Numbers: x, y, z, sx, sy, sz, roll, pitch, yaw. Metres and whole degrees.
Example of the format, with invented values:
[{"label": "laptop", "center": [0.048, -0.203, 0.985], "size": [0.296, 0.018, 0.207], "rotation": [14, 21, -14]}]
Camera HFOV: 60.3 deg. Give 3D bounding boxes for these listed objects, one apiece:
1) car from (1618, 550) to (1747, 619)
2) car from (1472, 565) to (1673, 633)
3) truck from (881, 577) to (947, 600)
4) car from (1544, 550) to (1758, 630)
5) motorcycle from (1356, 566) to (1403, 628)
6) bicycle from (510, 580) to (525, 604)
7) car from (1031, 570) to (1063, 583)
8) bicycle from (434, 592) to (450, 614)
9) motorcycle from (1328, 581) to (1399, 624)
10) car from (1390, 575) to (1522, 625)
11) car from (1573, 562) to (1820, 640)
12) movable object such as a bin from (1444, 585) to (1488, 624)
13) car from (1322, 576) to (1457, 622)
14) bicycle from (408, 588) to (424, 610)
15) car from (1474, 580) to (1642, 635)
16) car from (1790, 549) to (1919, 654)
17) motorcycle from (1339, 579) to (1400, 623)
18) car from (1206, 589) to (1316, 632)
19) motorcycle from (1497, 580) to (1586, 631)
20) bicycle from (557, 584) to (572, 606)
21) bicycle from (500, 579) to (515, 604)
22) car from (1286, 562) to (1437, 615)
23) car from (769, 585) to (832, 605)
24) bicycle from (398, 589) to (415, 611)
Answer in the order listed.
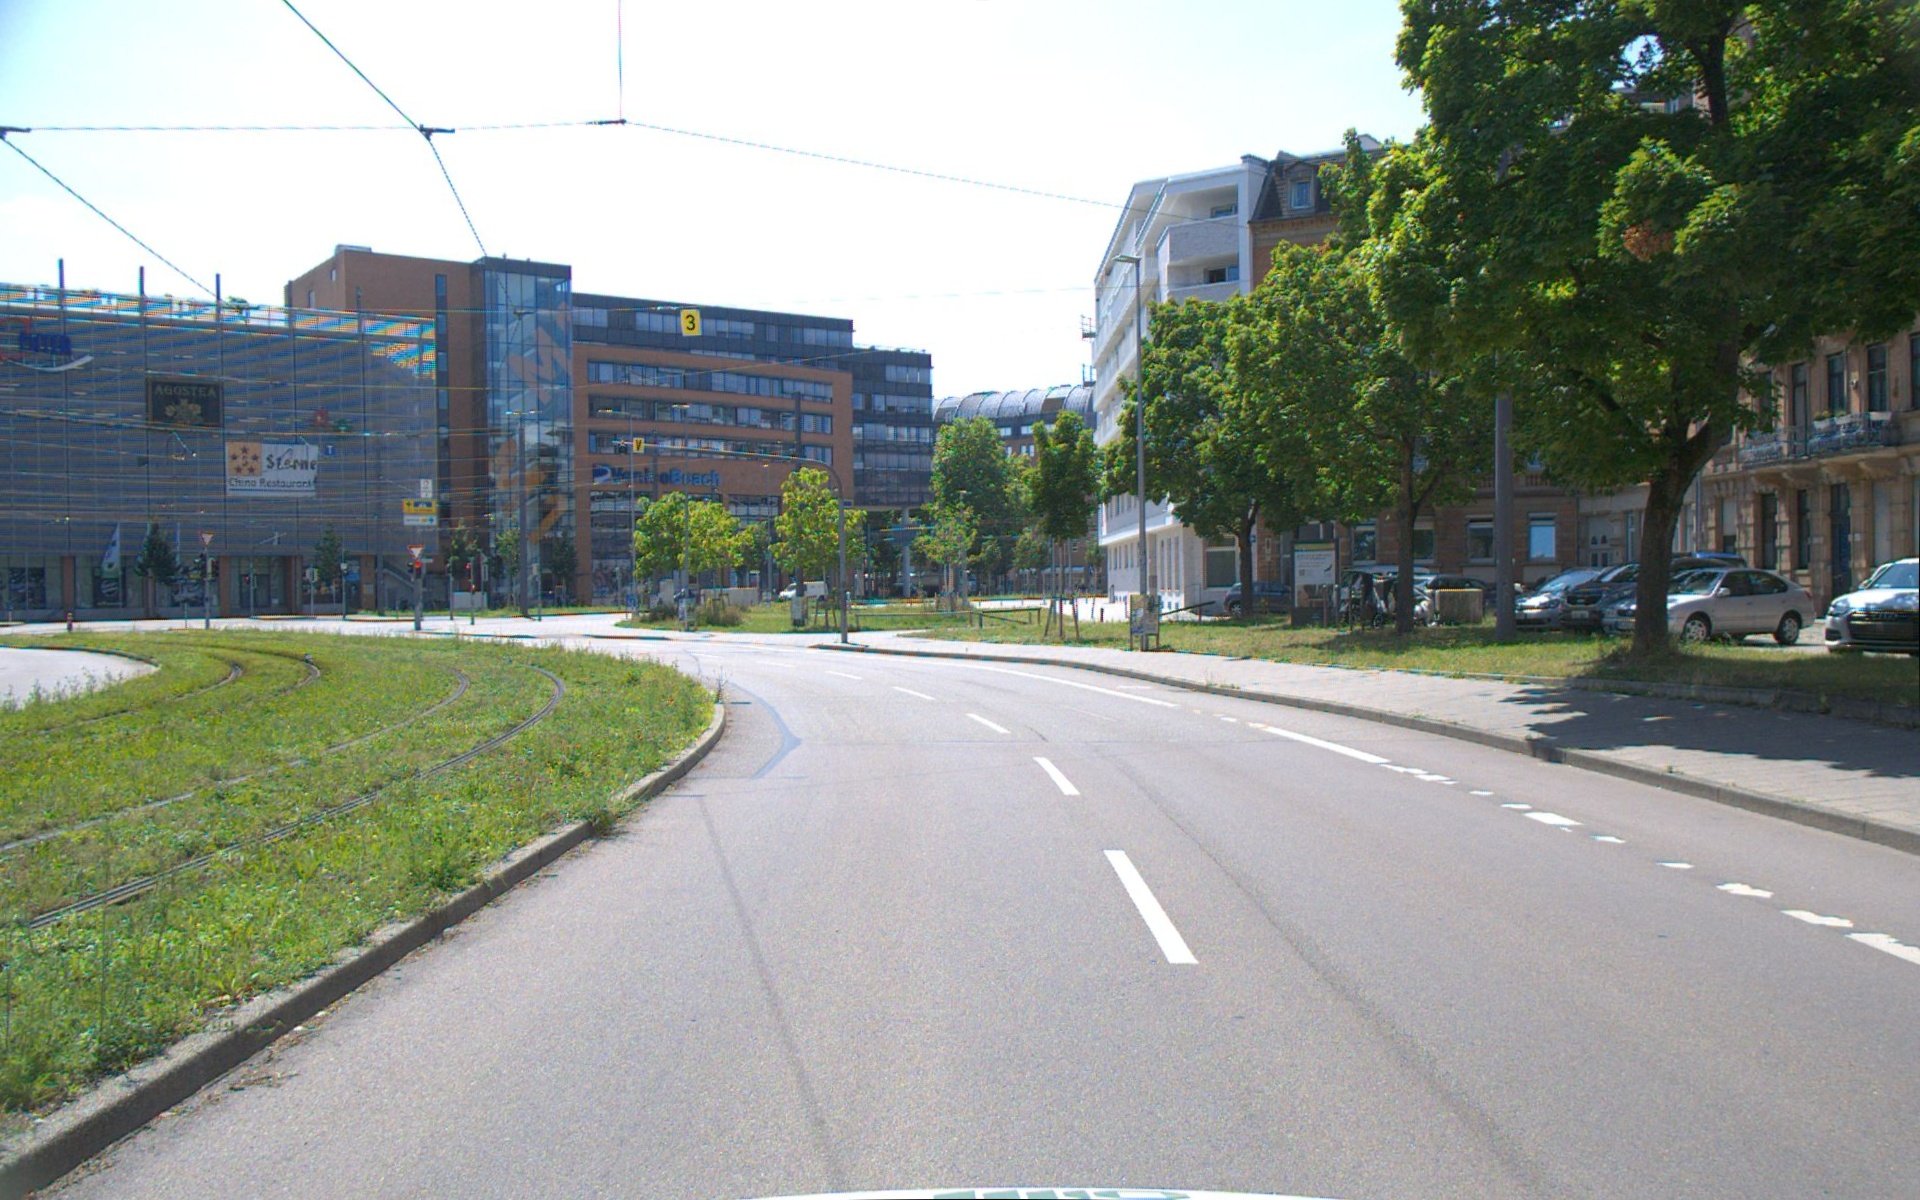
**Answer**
[{"label": "car", "center": [21.664, -0.454, 49.798], "size": [1.880, 1.937, 4.654], "rotation": [1, 0, 0]}, {"label": "car", "center": [13.204, -0.008, 35.595], "size": [4.281, 1.400, 1.569], "rotation": [0, 0, -27]}, {"label": "truck", "center": [-6.101, -1.535, 217.994], "size": [9.043, 2.858, 1.995], "rotation": [1, 0, 32]}, {"label": "car", "center": [13.678, -0.183, 32.730], "size": [4.032, 1.495, 1.782], "rotation": [0, 0, -28]}, {"label": "motorcycle", "center": [10.211, -0.079, 40.316], "size": [0.661, 1.438, 1.857], "rotation": [-2, 0, 1]}, {"label": "bicycle", "center": [-37.529, -0.698, 140.173], "size": [0.481, 2.049, 2.317], "rotation": [1, 0, -35]}, {"label": "car", "center": [11.955, -3.187, 227.008], "size": [3.913, 1.758, 1.862], "rotation": [1, 0, 31]}, {"label": "bicycle", "center": [-42.250, 0.277, 134.952], "size": [0.594, 1.761, 2.231], "rotation": [1, 0, -36]}, {"label": "motorcycle", "center": [10.878, 0.063, 44.633], "size": [1.787, 1.140, 0.527], "rotation": [1, 0, -7]}, {"label": "car", "center": [14.790, 0.006, 49.285], "size": [3.814, 1.457, 1.592], "rotation": [0, 0, -30]}, {"label": "car", "center": [13.351, 0.019, 30.002], "size": [3.931, 1.336, 1.959], "rotation": [1, 0, -22]}, {"label": "movable object such as a bin", "center": [12.696, 0.105, 41.525], "size": [0.965, 0.953, 0.702], "rotation": [1, 0, 11]}, {"label": "car", "center": [13.319, -0.030, 51.282], "size": [3.940, 1.355, 1.743], "rotation": [0, 0, -28]}, {"label": "bicycle", "center": [-44.090, -0.060, 134.002], "size": [0.594, 1.761, 2.231], "rotation": [1, 0, -36]}, {"label": "car", "center": [15.961, 0.189, 44.290], "size": [3.902, 1.400, 1.958], "rotation": [1, 0, 8]}, {"label": "car", "center": [13.576, 0.026, 23.233], "size": [2.114, 1.336, 4.754], "rotation": [1, 0, 44]}, {"label": "motorcycle", "center": [10.778, 0.034, 43.518], "size": [1.489, 1.140, 0.478], "rotation": [1, 0, -1]}, {"label": "car", "center": [12.196, 0.398, 67.044], "size": [4.040, 1.653, 1.692], "rotation": [1, 0, 30]}, {"label": "motorcycle", "center": [14.481, 0.125, 41.225], "size": [2.034, 1.257, 0.813], "rotation": [0, 0, 15]}, {"label": "bicycle", "center": [-34.246, -0.430, 143.065], "size": [0.481, 1.828, 2.231], "rotation": [1, 0, -35]}, {"label": "bicycle", "center": [-38.228, -0.722, 139.680], "size": [0.481, 2.049, 2.317], "rotation": [1, 0, -35]}, {"label": "car", "center": [13.076, -0.352, 53.794], "size": [4.802, 1.629, 1.820], "rotation": [0, 0, -28]}, {"label": "car", "center": [-13.948, -0.455, 144.603], "size": [5.437, 1.697, 1.968], "rotation": [0, 0, -44]}, {"label": "bicycle", "center": [-44.698, -0.037, 133.543], "size": [0.594, 1.761, 2.231], "rotation": [1, 0, -36]}]
